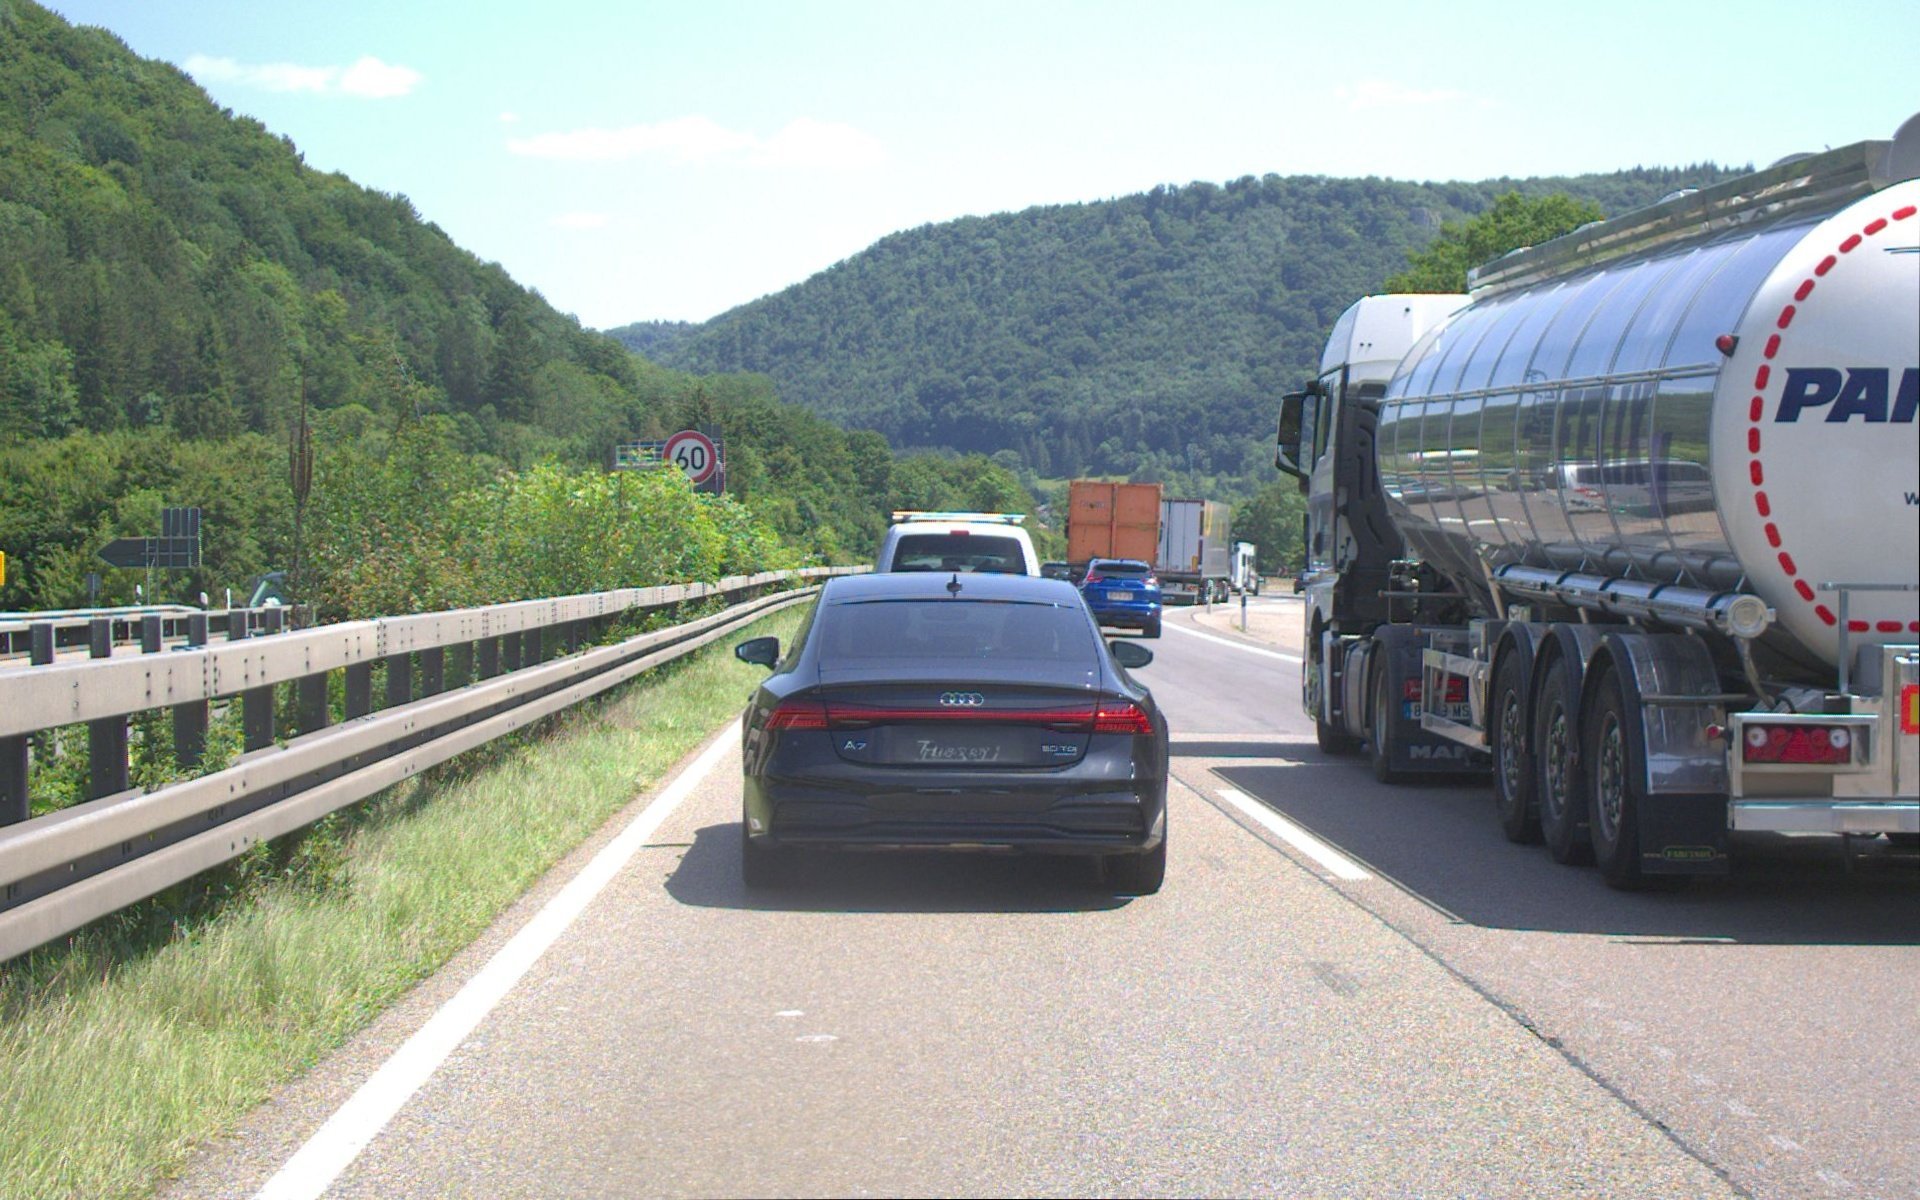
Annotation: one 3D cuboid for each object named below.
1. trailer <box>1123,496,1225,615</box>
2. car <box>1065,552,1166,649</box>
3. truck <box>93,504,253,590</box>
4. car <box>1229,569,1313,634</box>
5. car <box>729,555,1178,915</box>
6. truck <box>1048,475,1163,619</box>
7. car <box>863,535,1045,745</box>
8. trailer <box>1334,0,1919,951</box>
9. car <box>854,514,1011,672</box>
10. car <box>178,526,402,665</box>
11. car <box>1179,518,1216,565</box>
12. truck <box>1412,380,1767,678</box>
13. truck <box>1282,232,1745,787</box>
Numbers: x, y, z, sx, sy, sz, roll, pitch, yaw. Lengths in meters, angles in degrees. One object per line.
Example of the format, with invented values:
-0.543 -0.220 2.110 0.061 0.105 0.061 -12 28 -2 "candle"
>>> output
8.178 -1.718 132.452 3.015 4.367 10.986 0 1 -1 "trailer"
3.312 -0.020 73.942 1.993 1.996 4.000 -1 1 1 "car"
-25.814 -1.722 113.195 3.580 2.686 8.449 0 1 -2 "truck"
7.532 0.011 83.562 1.747 1.525 4.000 0 1 1 "car"
-0.161 0.534 16.278 1.849 1.483 4.083 0 1 -4 "car"
4.229 -1.573 102.897 2.817 3.989 14.955 0 1 0 "truck"
-0.074 0.320 31.924 1.576 1.827 4.000 0 1 -1 "car"
4.132 -0.592 19.126 2.538 3.723 11.892 0 1 -1 "trailer"
-0.372 -0.116 45.852 1.993 2.007 4.000 0 1 -1 "car"
-8.457 -0.075 43.766 1.993 1.608 4.274 -2 1 0 "car"
14.842 -3.649 214.894 1.993 2.925 4.899 0 1 0 "car"
9.425 -1.052 53.596 2.817 3.989 14.955 0 1 0 "truck"
3.989 -0.643 25.879 2.511 3.746 5.246 0 1 -1 "truck"
